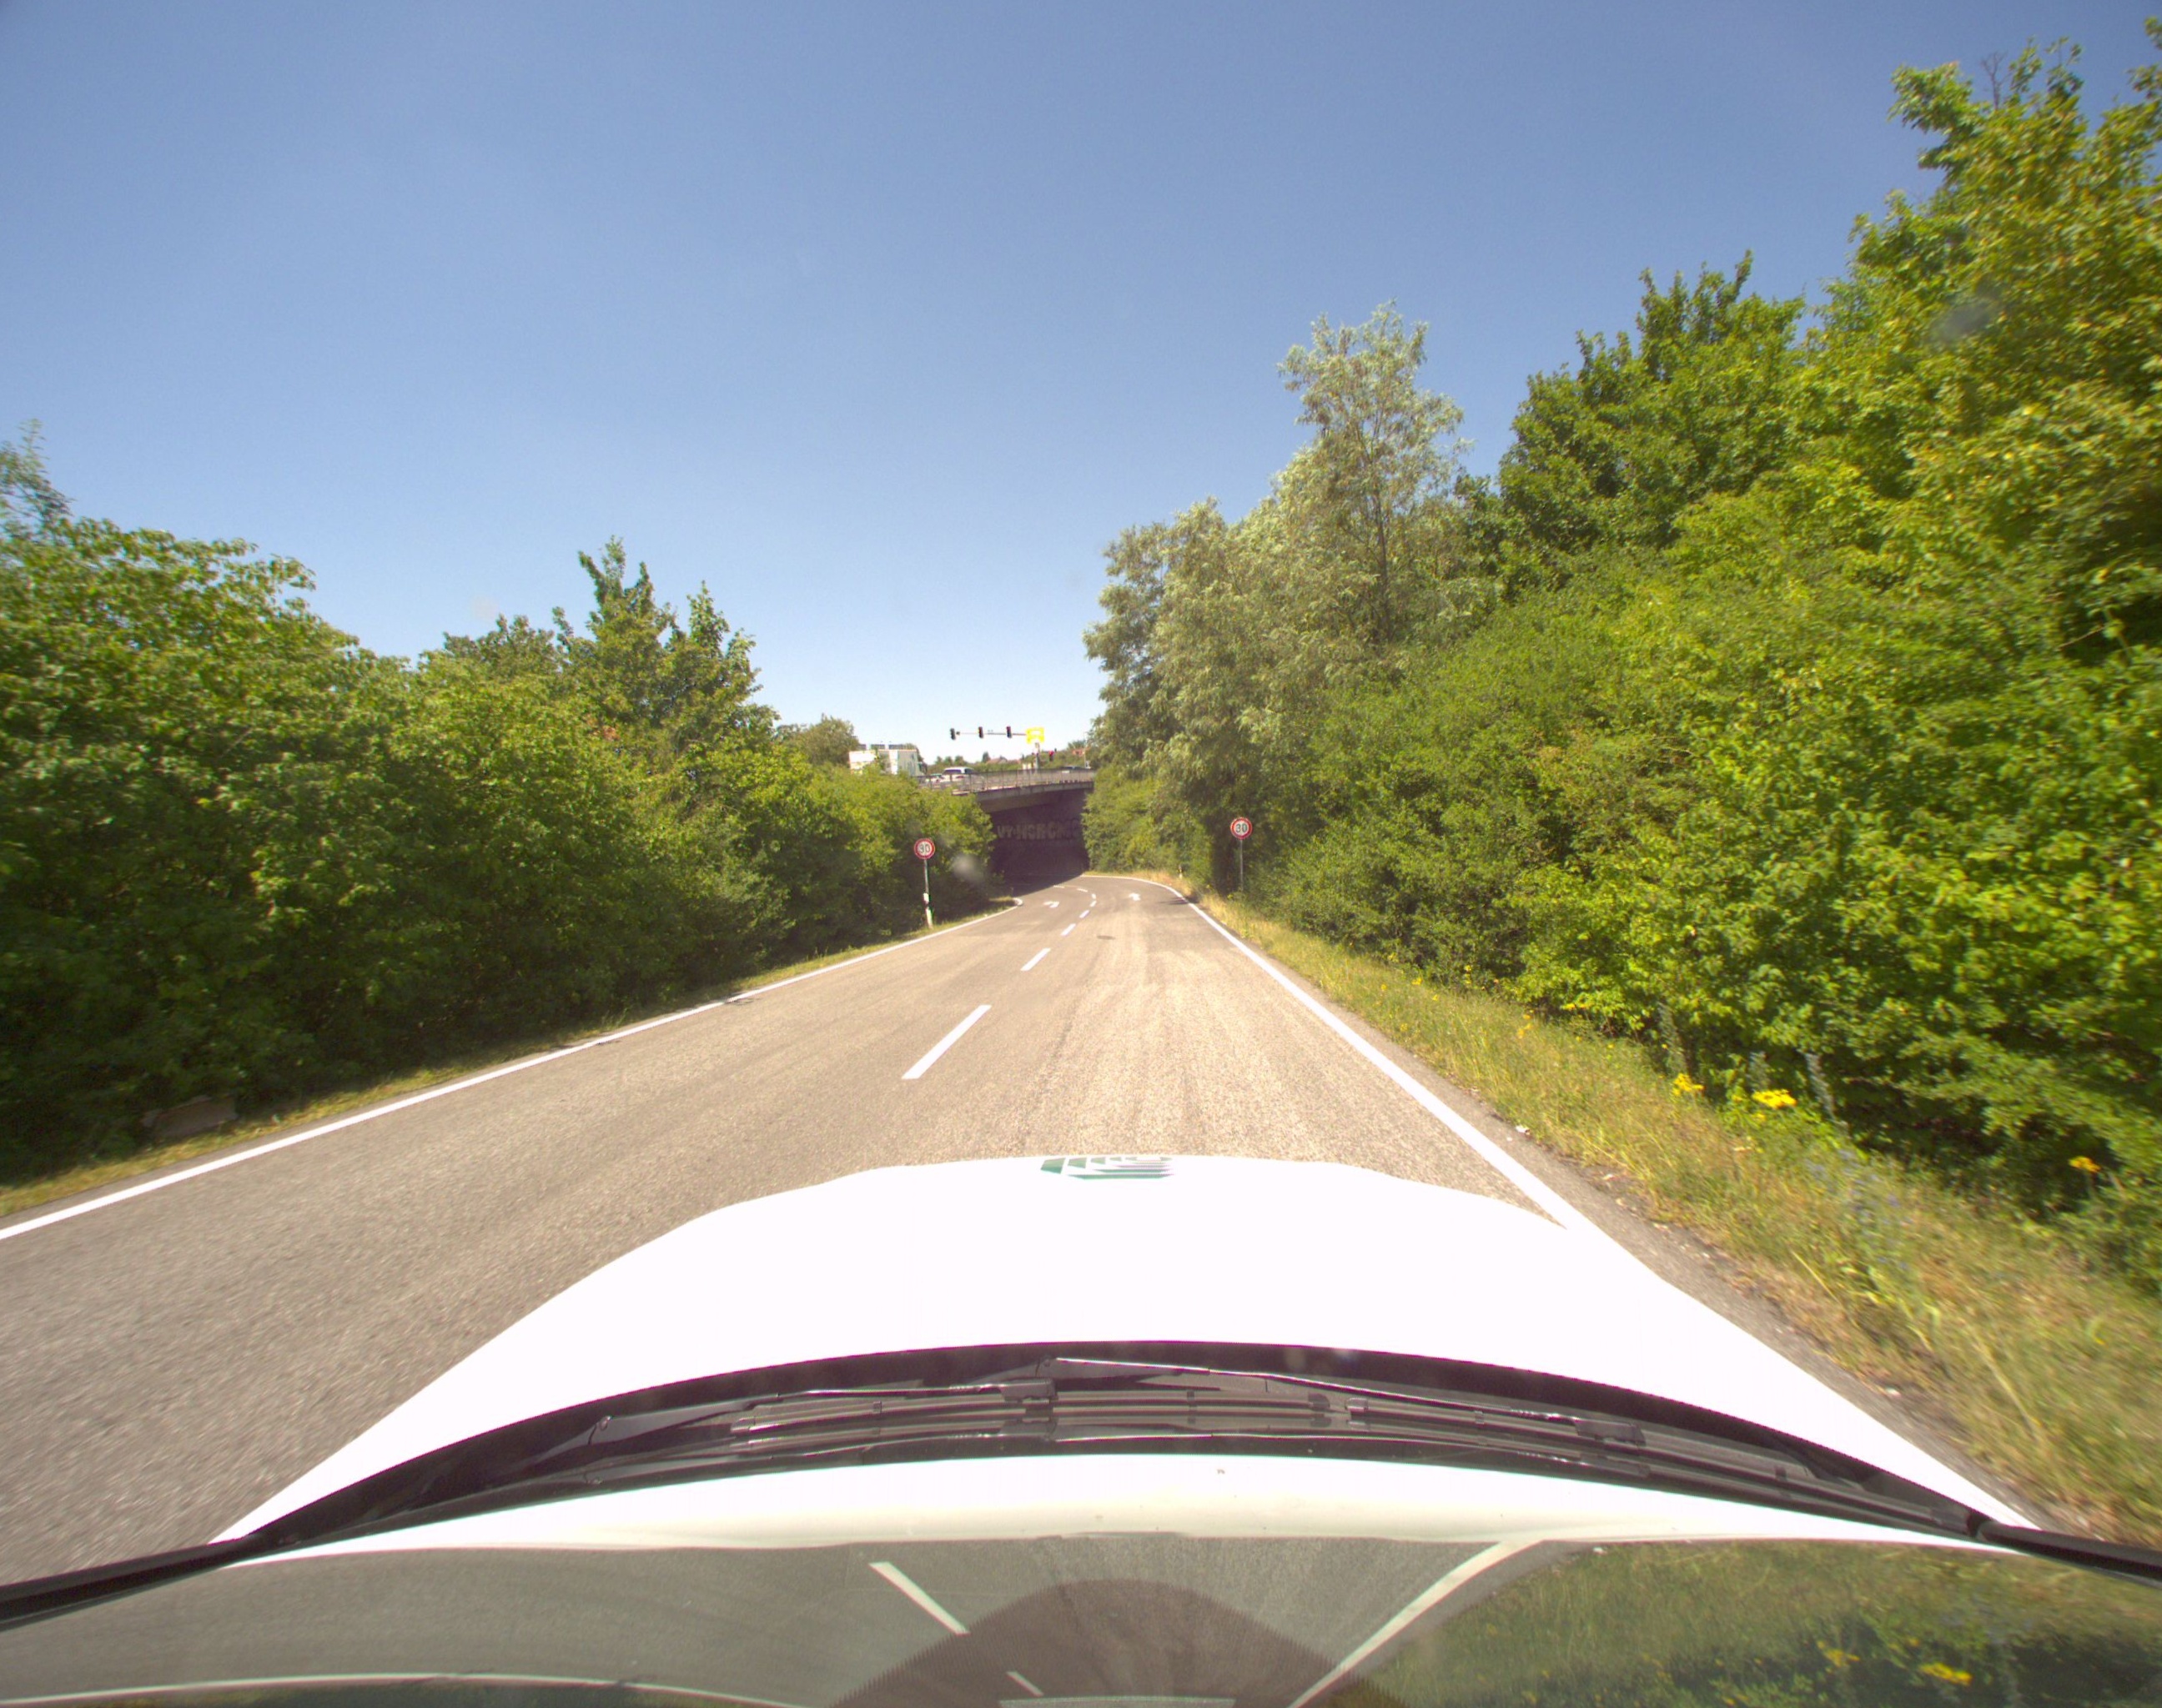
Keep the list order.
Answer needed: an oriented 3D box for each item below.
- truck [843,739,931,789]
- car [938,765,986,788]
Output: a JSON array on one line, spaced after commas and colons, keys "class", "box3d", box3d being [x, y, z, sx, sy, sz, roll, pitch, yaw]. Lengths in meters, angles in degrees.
[{"class": "truck", "box3d": [-15.970, -7.351, 67.893, 3.005, 3.588, 8.940, -4, 3, 14]}, {"class": "car", "box3d": [-7.344, -4.799, 50.484, 1.599, 1.189, 3.495, -3, 3, 16]}]
